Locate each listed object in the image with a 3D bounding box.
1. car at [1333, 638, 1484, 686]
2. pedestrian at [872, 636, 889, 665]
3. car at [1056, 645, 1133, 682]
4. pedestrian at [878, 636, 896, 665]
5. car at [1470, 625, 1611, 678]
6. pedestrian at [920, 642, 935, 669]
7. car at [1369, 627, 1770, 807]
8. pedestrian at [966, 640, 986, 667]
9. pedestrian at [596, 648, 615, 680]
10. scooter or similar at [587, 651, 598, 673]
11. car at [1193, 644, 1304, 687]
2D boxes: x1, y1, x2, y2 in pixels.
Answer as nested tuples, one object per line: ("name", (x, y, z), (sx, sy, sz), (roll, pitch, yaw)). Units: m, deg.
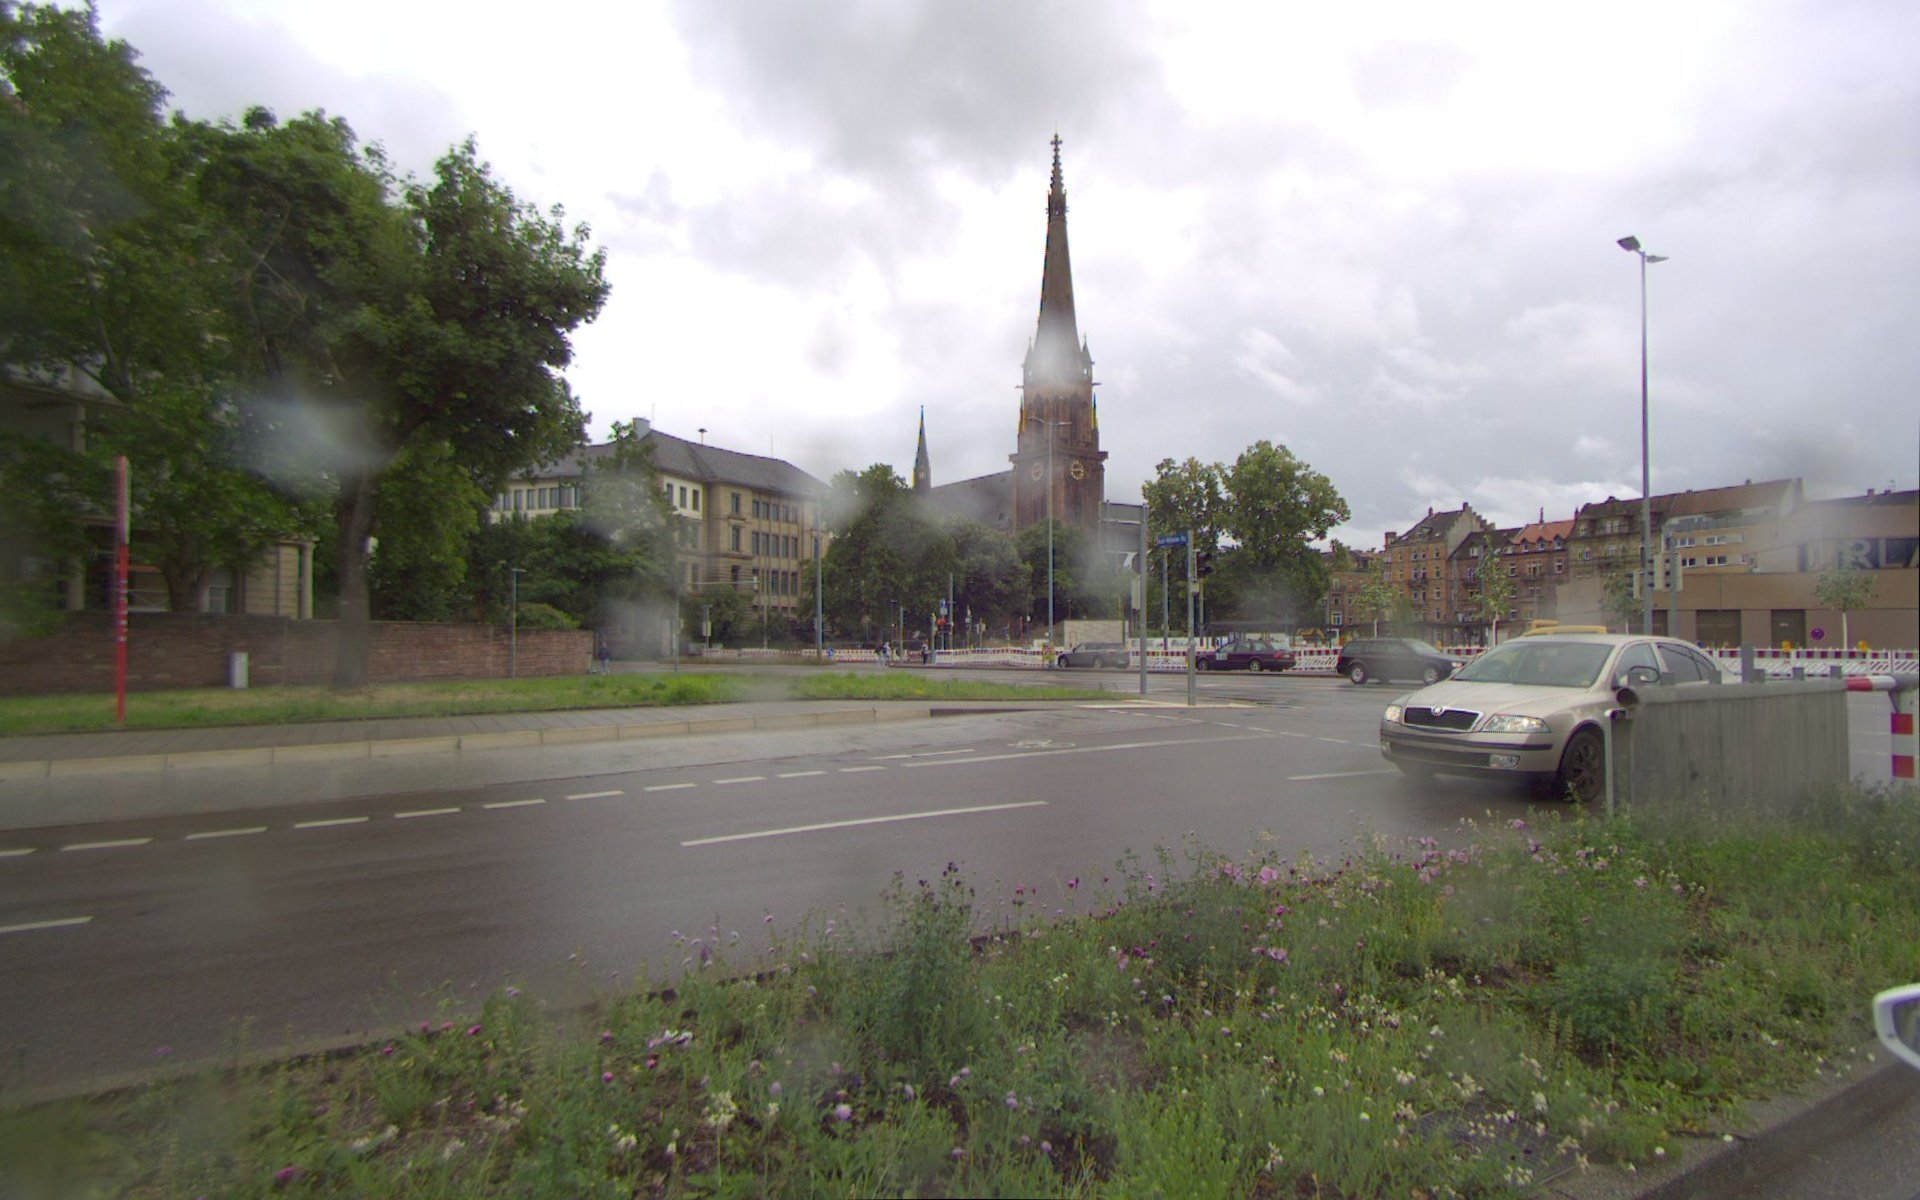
("car", (14.187, 1.922, 31.985), (1.602, 1.420, 4.163), (1, -2, -36))
("pedestrian", (-5.724, 3.592, 71.938), (0.945, 2.040, 0.852), (1, -2, -30))
("car", (6.764, 3.166, 50.793), (1.695, 1.728, 3.780), (1, -2, -37))
("pedestrian", (-5.167, 3.563, 71.127), (0.945, 2.040, 0.852), (1, -2, -30))
("car", (19.787, 1.739, 34.394), (4.079, 1.728, 1.708), (-1, -2, 30))
("pedestrian", (-2.238, 3.802, 68.816), (0.765, 1.801, 0.720), (1, -2, -30))
("car", (6.037, 1.000, 9.828), (4.137, 1.434, 1.685), (1, -2, -32))
("pedestrian", (1.214, 4.087, 77.474), (0.981, 2.040, 1.305), (-1, -2, 34))
("pedestrian", (-17.498, 3.158, 49.604), (0.662, 1.520, 0.774), (0, -2, 0))
("scooter or similar", (-19.375, 3.261, 52.978), (0.274, 1.096, 1.078), (0, -2, -4))
("car", (12.402, 2.789, 43.386), (1.698, 1.728, 4.406), (2, -3, -42))
